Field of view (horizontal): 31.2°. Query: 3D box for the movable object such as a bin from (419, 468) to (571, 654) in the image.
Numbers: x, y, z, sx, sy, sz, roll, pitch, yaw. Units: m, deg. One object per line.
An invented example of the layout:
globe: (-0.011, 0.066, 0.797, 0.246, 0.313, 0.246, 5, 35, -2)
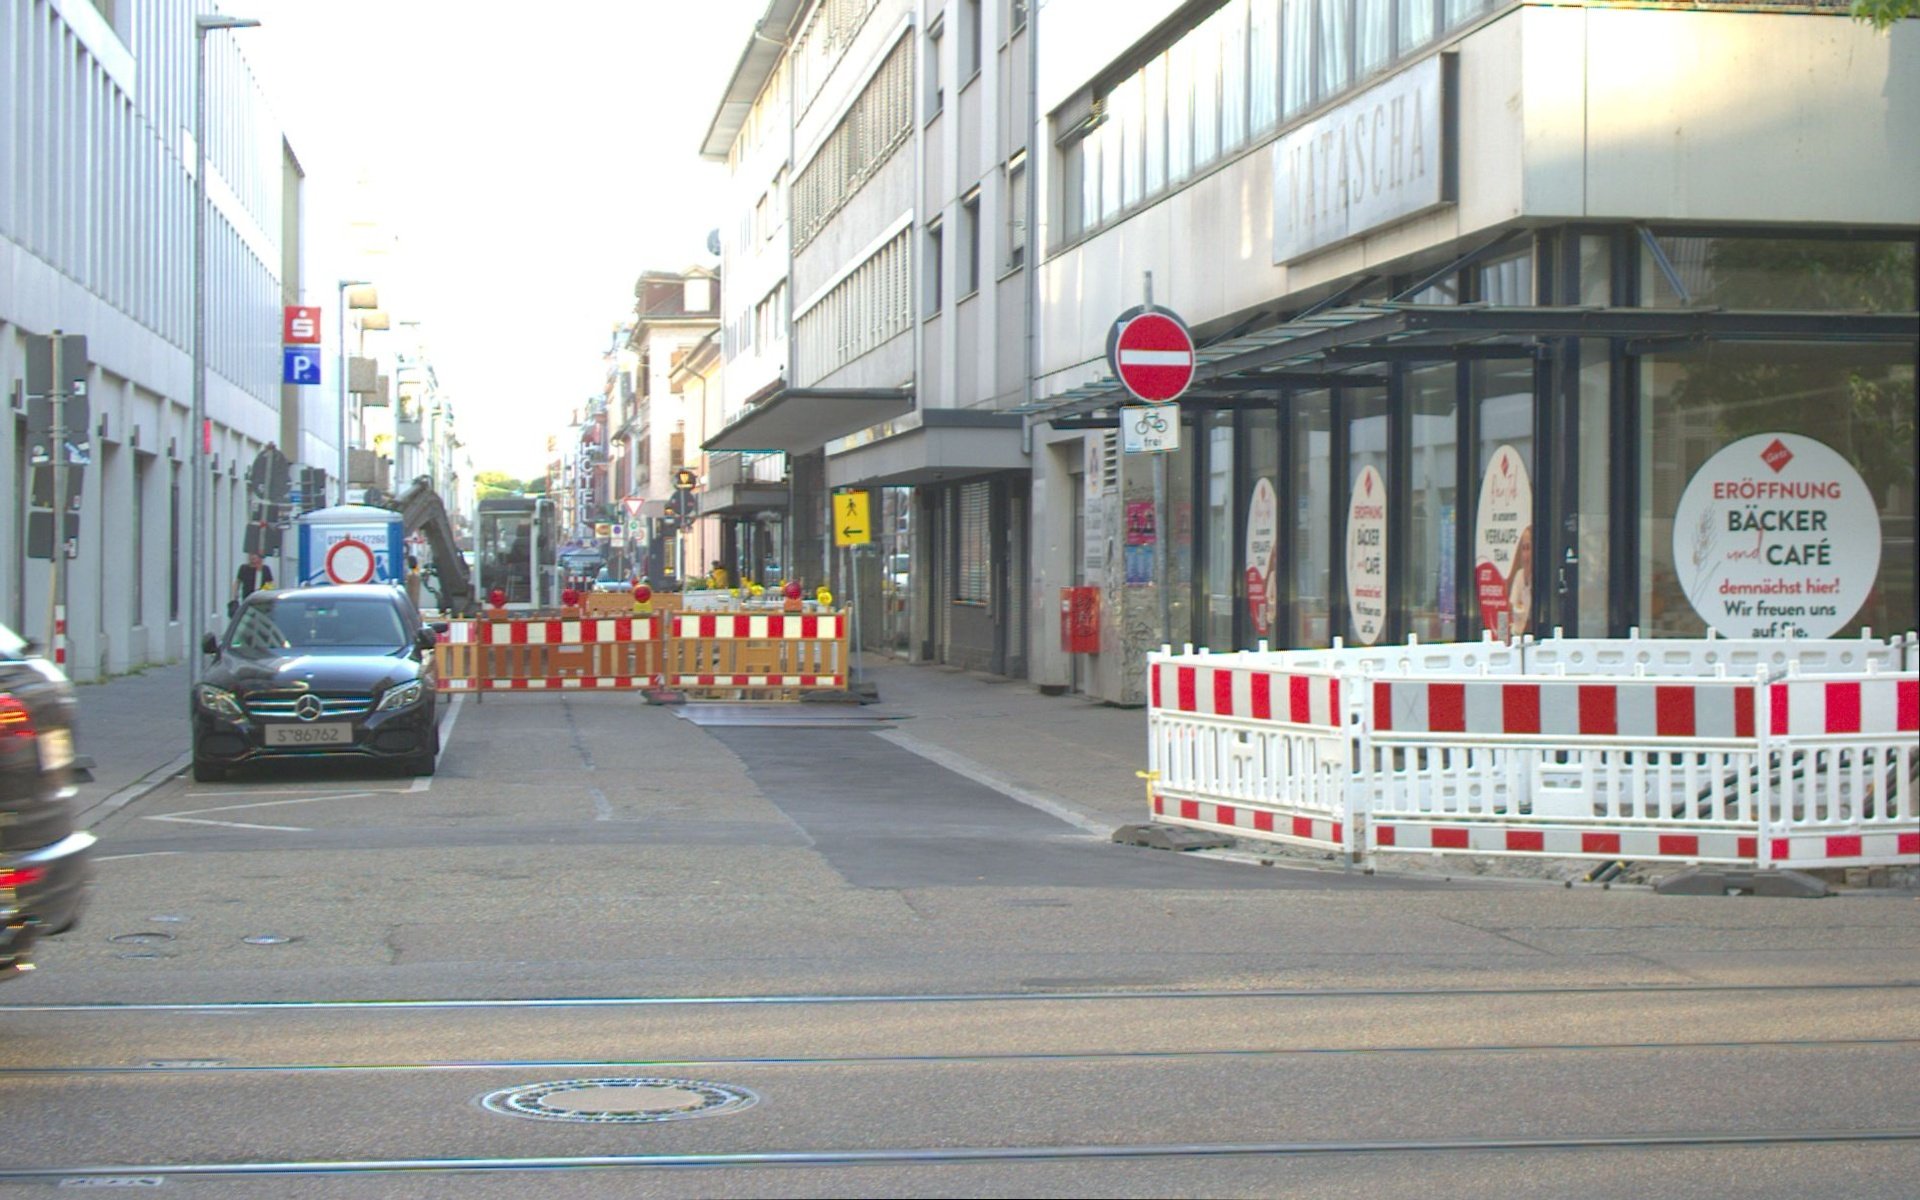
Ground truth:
movable object such as a bin: (-6.975, -0.593, 51.665, 2.156, 2.654, 4.574, 0, 1, -7)

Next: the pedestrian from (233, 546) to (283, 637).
pedestrian: (-11.378, -0.147, 55.712, 0.716, 1.459, 0.525, -1, 1, -5)

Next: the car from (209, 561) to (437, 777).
car: (-4.941, 0.483, 26.695, 1.629, 1.545, 3.143, 0, 1, -10)

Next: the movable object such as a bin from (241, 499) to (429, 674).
movable object such as a bin: (-7.552, -0.193, 41.860, 1.993, 2.007, 4.001, -1, 1, -7)

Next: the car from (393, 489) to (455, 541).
car: (-18.757, -2.951, 120.445, 1.993, 1.770, 4.001, -1, 1, -7)

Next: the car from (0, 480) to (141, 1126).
car: (-4.988, 0.501, 9.854, 4.929, 1.720, 2.022, 1, 0, -7)

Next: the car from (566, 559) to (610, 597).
car: (-17.895, -1.066, 165.168, 1.993, 1.770, 4.001, -1, 1, -7)

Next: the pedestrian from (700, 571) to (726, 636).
pedestrian: (-5.664, 0.080, 78.781, 0.524, 1.459, 0.718, 1, 1, 1)
